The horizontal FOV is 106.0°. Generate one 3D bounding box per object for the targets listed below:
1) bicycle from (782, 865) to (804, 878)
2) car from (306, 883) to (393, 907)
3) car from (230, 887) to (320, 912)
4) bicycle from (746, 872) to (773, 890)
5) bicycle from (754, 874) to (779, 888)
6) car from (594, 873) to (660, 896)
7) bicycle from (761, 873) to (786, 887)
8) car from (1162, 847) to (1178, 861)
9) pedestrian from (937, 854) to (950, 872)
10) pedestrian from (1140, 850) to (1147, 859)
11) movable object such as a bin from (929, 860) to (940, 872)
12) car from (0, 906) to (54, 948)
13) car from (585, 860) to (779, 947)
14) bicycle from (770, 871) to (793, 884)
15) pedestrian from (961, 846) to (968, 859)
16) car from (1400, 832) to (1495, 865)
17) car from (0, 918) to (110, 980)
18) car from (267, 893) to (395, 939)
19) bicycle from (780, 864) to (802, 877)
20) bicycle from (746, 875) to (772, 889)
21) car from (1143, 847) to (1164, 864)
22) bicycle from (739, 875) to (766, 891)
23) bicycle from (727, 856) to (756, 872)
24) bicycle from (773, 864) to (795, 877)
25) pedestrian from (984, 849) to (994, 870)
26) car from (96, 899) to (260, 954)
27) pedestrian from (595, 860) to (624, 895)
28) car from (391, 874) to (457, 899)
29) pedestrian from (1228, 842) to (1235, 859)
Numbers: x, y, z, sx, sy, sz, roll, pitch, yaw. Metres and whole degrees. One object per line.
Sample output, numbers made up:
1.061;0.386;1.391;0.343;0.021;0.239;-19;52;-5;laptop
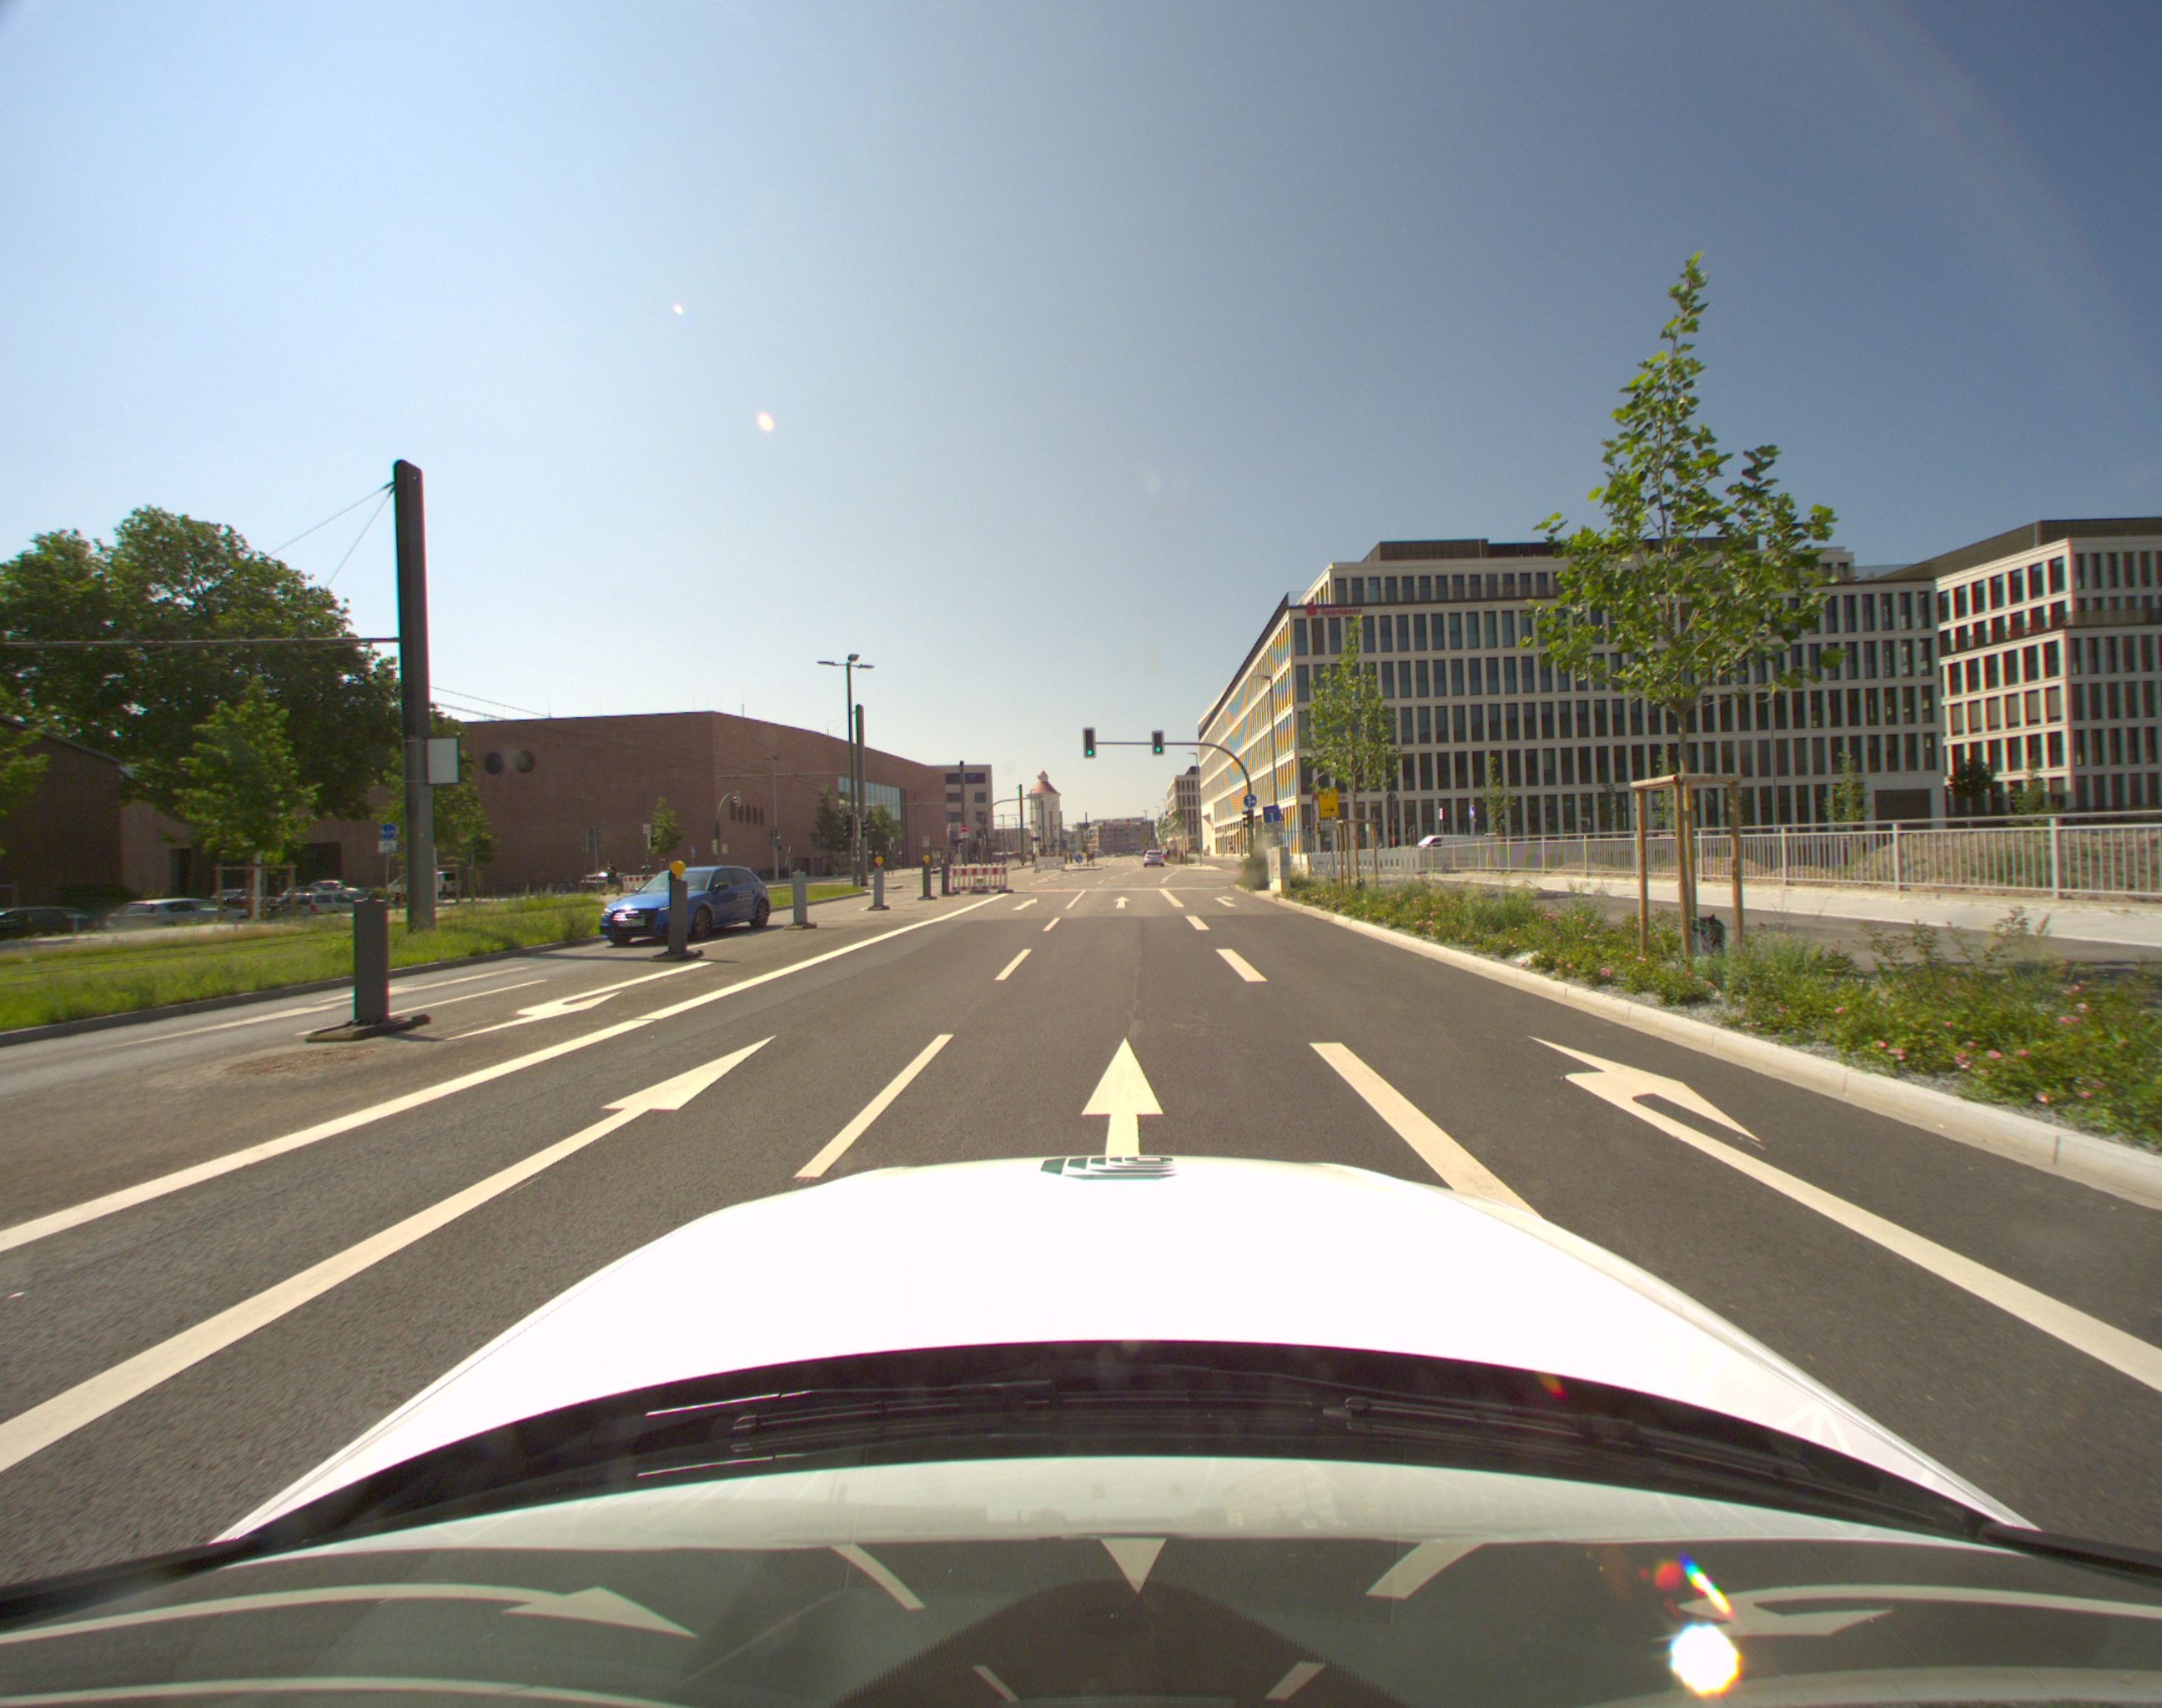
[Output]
-29.847;1.832;84.288;2.050;1.212;0.538;-2;0;-8;bicycle
-46.413;2.594;51.696;3.964;1.403;2.004;-1;-1;8;car
-51.028;2.896;51.611;3.964;1.403;2.004;-1;-1;8;car
-27.282;2.309;69.150;2.050;1.453;0.538;-2;0;-8;bicycle
-28.775;2.465;74.562;2.050;1.212;0.538;-2;0;-8;bicycle
-30.096;2.030;54.033;3.465;1.369;1.574;-1;0;2;car
-29.065;2.457;76.966;2.050;1.212;0.538;-2;0;-8;bicycle
10.514;0.007;96.377;1.727;1.474;3.988;-2;0;7;car
-12.249;0.812;72.508;0.935;1.562;0.786;-2;0;-28;pedestrian
11.079;0.067;145.080;0.895;1.674;1.008;-2;0;-15;pedestrian
-12.965;1.089;72.106;0.717;1.031;0.786;-2;0;-28;movable object such as a bin
-40.321;2.743;29.406;1.532;1.457;3.791;-1;0;3;car
-7.954;0.906;16.757;1.621;1.427;4.293;-3;0;3;car
-29.309;2.276;79.707;2.050;1.212;0.538;-2;0;-8;bicycle
-16.506;-0.201;114.960;0.807;1.820;0.826;-1;0;3;pedestrian
25.867;-0.407;57.617;5.812;2.270;2.148;0;0;3;car
-34.535;3.072;25.908;1.691;1.761;4.534;-1;-1;3;car
-33.957;2.754;37.055;1.691;1.761;4.305;-1;-1;3;car
-29.811;1.690;83.780;2.050;1.212;0.538;-2;0;-8;bicycle
-28.226;2.450;71.379;2.050;1.212;0.538;-2;0;-8;bicycle
6.442;0.141;72.060;1.763;1.395;3.536;-1;-1;5;car
-27.775;2.440;68.911;2.050;1.212;0.538;-2;0;-8;bicycle
-27.975;0.803;67.153;2.051;1.212;0.538;-2;0;-10;bicycle
-29.459;1.669;80.709;1.880;1.212;0.746;-2;0;-4;bicycle
-7.991;0.499;70.831;0.649;1.833;0.662;-1;0;7;pedestrian
-34.145;2.702;30.972;1.691;1.761;3.943;-1;-1;4;car
-25.106;1.236;43.365;0.808;1.847;1.108;-2;0;3;pedestrian
-48.366;2.366;59.990;3.528;1.689;1.695;-1;0;3;car
16.140;-0.374;87.478;0.625;1.742;0.815;-2;0;3;pedestrian
